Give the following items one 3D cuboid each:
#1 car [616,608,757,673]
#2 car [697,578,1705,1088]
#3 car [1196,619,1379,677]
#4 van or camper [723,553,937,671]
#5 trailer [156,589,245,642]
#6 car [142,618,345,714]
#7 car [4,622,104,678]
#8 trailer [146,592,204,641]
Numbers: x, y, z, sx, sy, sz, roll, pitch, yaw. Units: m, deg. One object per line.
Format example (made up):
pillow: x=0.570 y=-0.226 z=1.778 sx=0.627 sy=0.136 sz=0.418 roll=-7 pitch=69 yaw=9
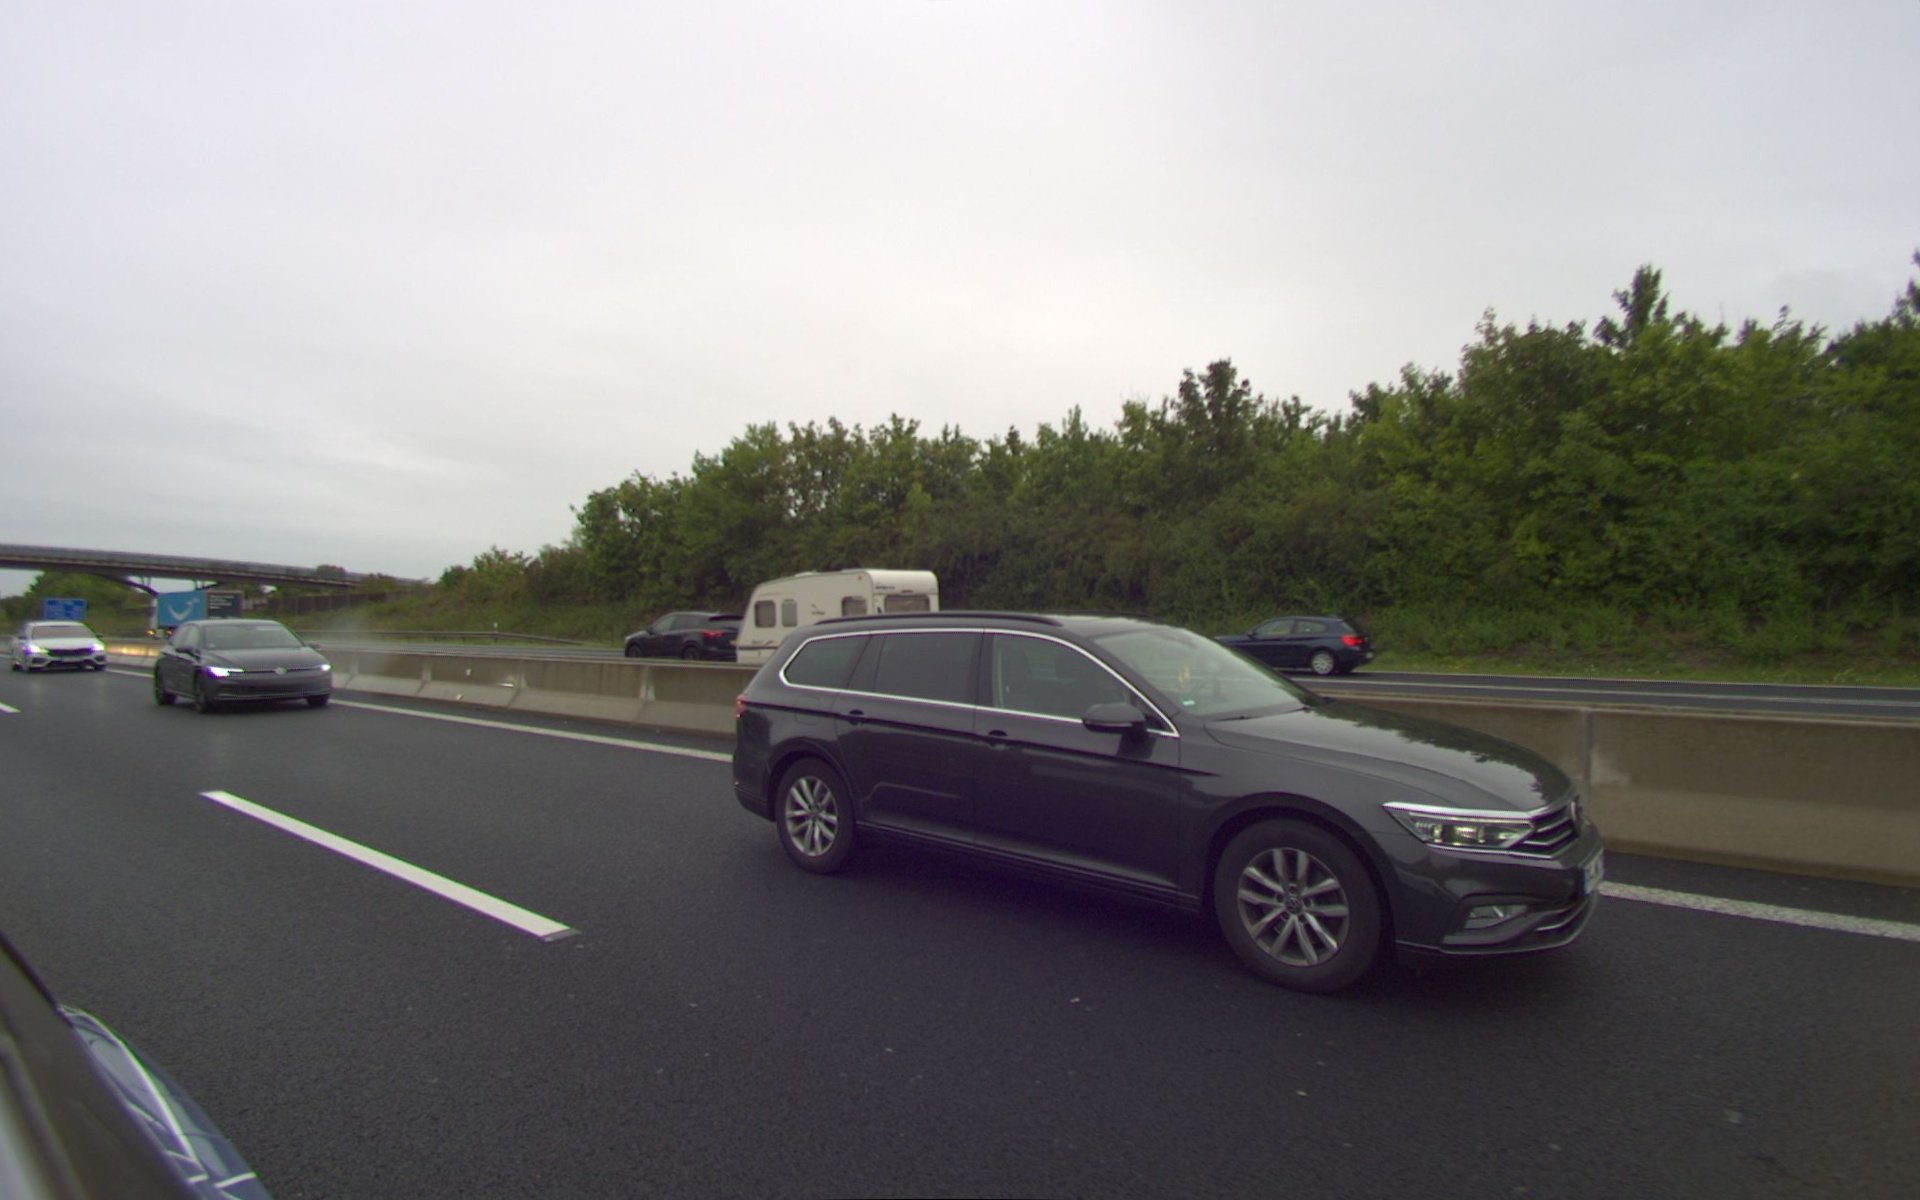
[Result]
car: x=-7.459 y=1.070 z=27.388 sx=4.385 sy=1.632 sz=1.512 roll=-1 pitch=-2 yaw=41
car: x=0.819 y=0.738 z=5.319 sx=4.849 sy=1.508 sz=1.881 roll=-1 pitch=-1 yaw=41
car: x=7.922 y=1.134 z=24.654 sx=3.917 sy=1.304 sz=1.673 roll=-1 pitch=-1 yaw=37
van or camper: x=-3.194 y=0.318 z=23.851 sx=5.544 sy=2.488 sz=1.776 roll=-1 pitch=-2 yaw=41
trailer: x=-63.246 y=1.350 z=84.083 sx=13.512 sy=4.114 sz=2.762 roll=-1 pitch=-2 yaw=39
car: x=-12.219 y=1.025 z=17.149 sx=4.458 sy=1.416 sz=1.880 roll=-1 pitch=-1 yaw=42
car: x=-26.753 y=1.430 z=29.849 sx=4.115 sy=1.518 sz=1.879 roll=-1 pitch=-2 yaw=44
trailer: x=-68.767 y=1.478 z=88.626 sx=6.036 sy=4.114 sz=2.762 roll=-1 pitch=-2 yaw=39
